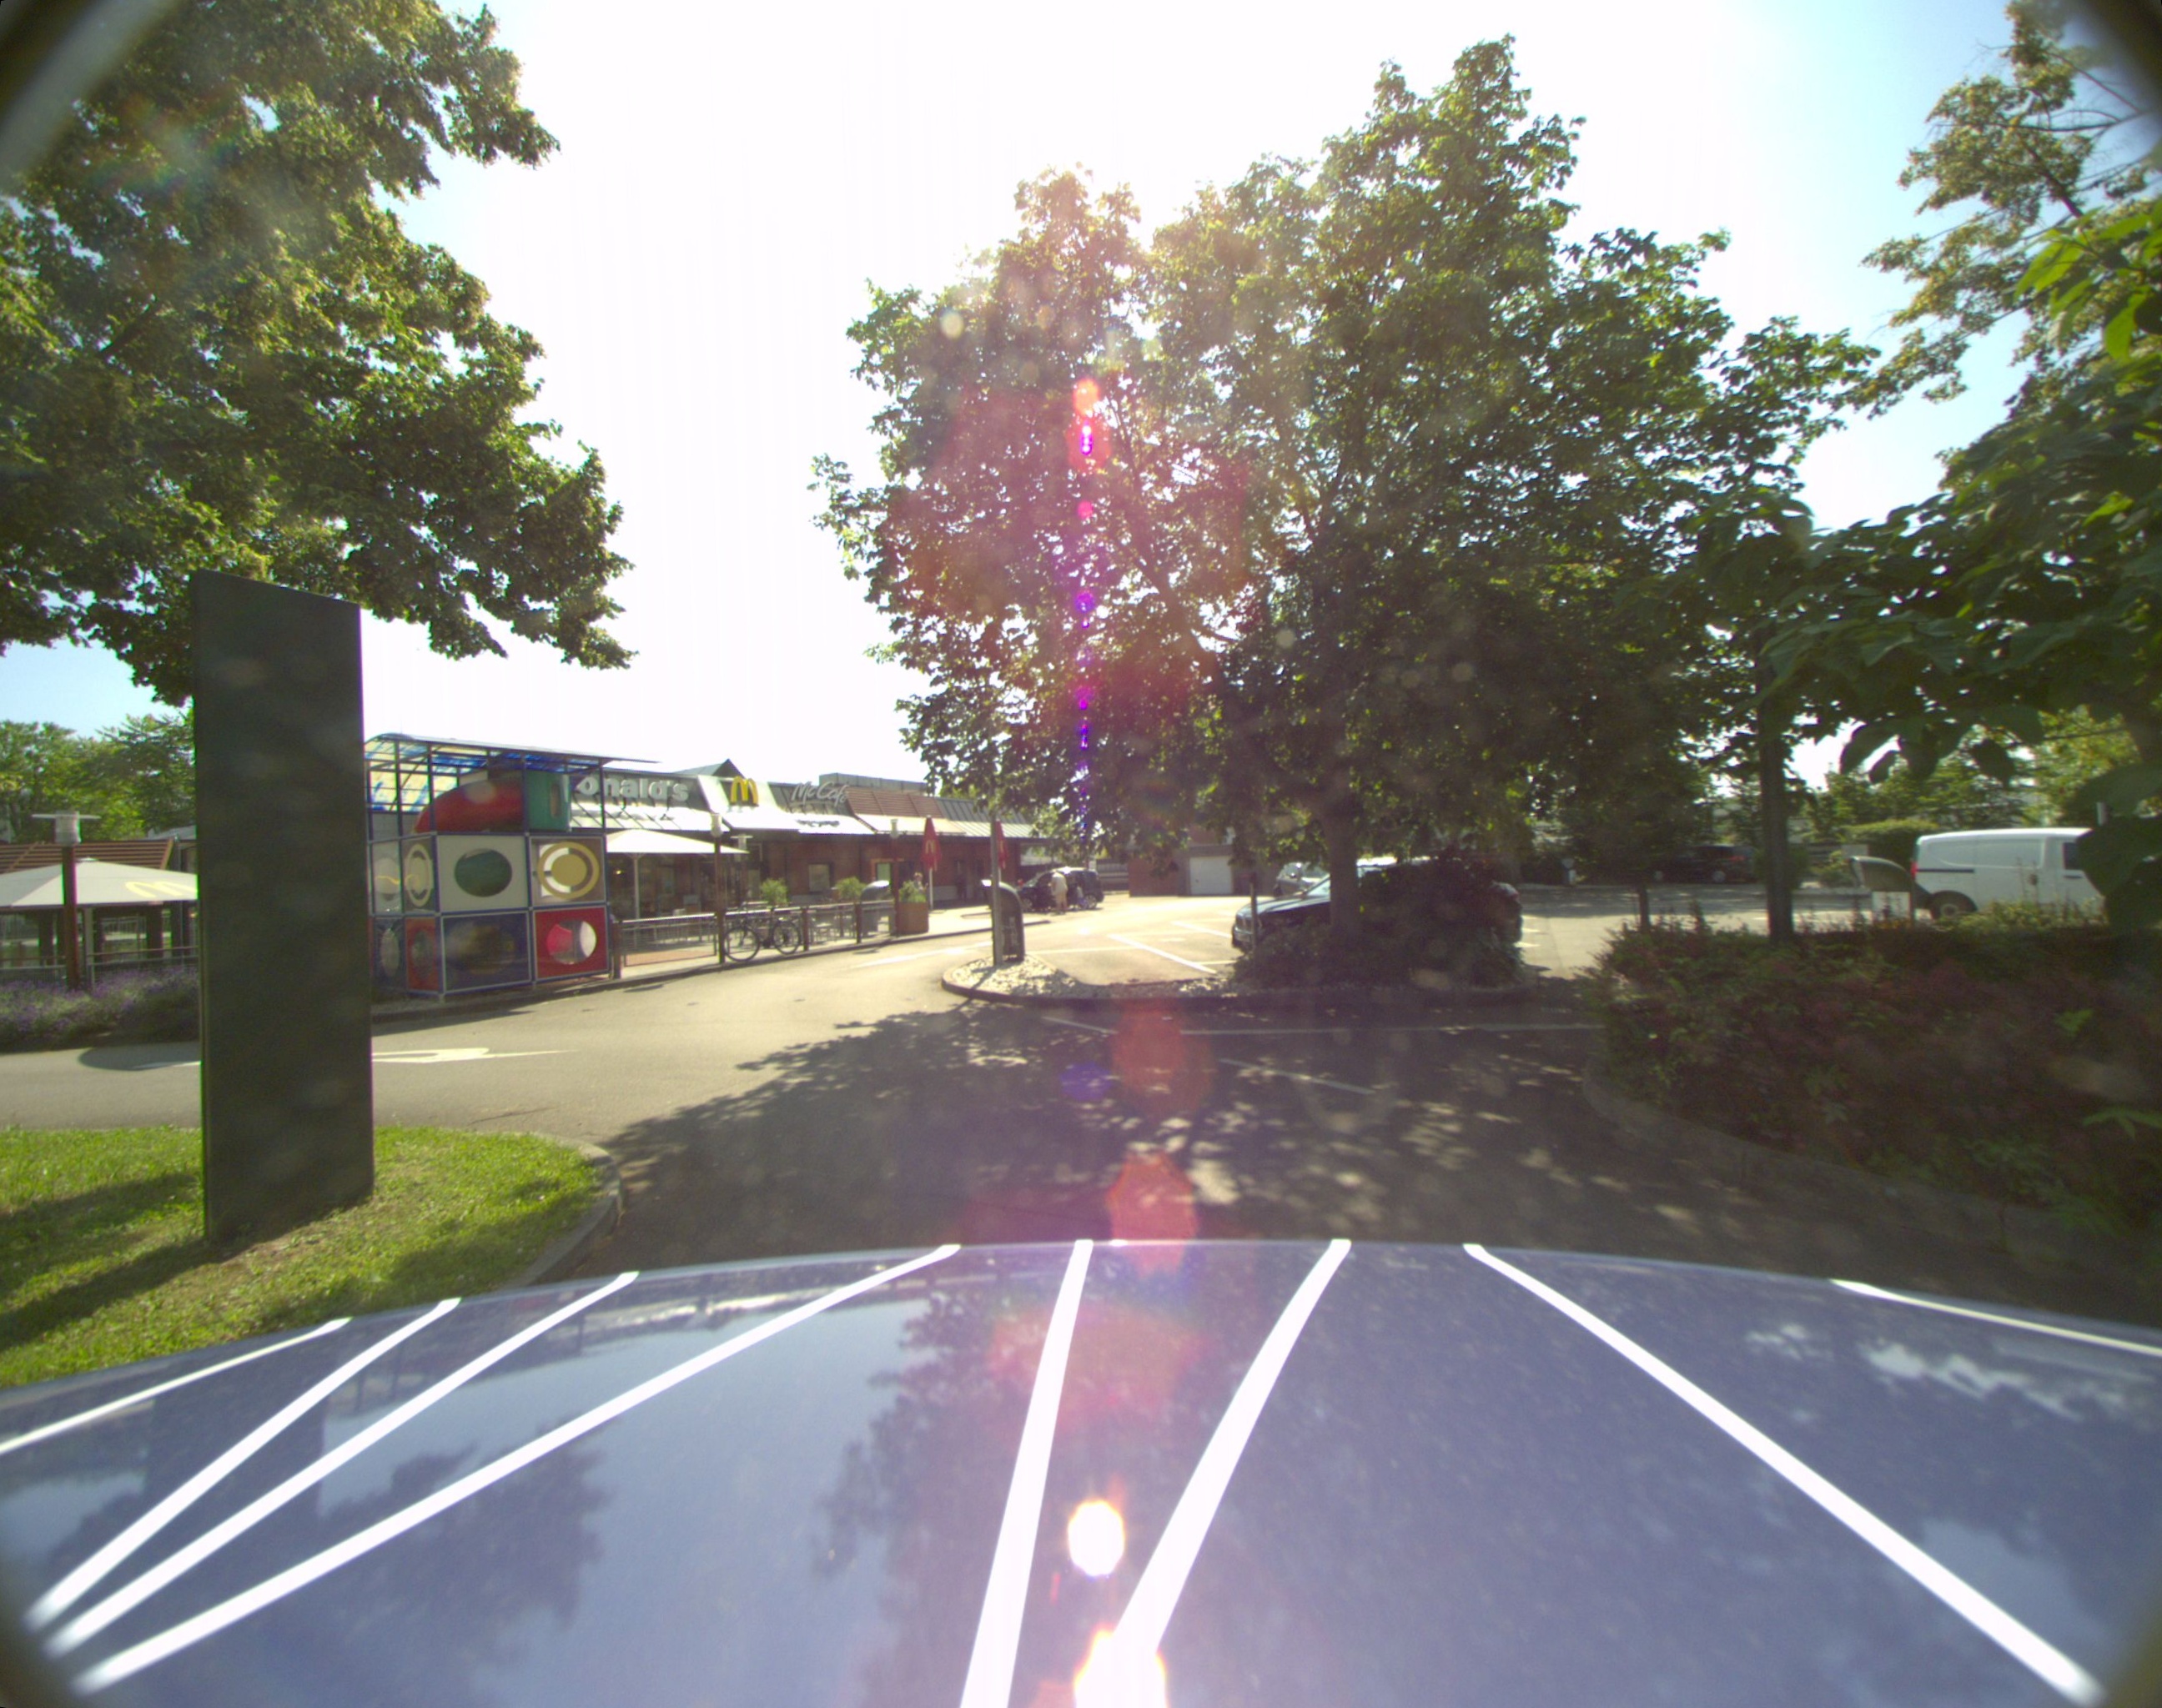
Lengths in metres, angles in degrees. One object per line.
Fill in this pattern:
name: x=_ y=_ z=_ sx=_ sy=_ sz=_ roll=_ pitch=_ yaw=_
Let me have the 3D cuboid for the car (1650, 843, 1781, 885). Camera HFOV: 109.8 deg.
car: x=26.134 y=0.395 z=31.477 sx=1.820 sy=1.567 sz=3.866 roll=-2 pitch=0 yaw=-10

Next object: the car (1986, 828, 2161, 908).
car: x=22.319 y=0.269 z=15.941 sx=1.906 sy=1.574 sz=3.806 roll=-2 pitch=0 yaw=-14

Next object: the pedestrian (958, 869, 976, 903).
pedestrian: x=-5.609 y=1.584 z=37.405 sx=0.541 sy=1.641 sz=0.624 roll=-2 pitch=-1 yaw=31

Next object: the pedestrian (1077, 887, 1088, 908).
pedestrian: x=0.042 y=1.712 z=29.873 sx=0.364 sy=0.774 sz=0.335 roll=-2 pitch=0 yaw=-8

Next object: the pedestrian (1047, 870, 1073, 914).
pedestrian: x=-0.800 y=1.423 z=28.833 sx=0.833 sy=1.628 sz=0.788 roll=-2 pitch=0 yaw=-8

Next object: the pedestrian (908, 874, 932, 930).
pedestrian: x=-4.661 y=1.368 z=21.989 sx=0.597 sy=1.558 sz=0.571 roll=-2 pitch=0 yaw=-10

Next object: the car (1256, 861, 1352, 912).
car: x=7.463 y=1.038 z=25.783 sx=1.621 sy=1.523 sz=3.609 roll=-2 pitch=0 yaw=-10

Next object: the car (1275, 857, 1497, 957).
car: x=6.477 y=1.037 z=16.165 sx=4.232 sy=1.788 sz=1.757 roll=-2 pitch=0 yaw=-20

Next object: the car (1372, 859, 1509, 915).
car: x=11.644 y=1.036 z=24.679 sx=3.724 sy=1.622 sz=1.667 roll=-2 pitch=0 yaw=-11

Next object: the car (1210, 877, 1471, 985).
car: x=4.394 y=1.208 z=12.926 sx=4.003 sy=1.484 sz=1.653 roll=-2 pitch=-1 yaw=-20

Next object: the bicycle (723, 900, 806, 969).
bicycle: x=-6.383 y=1.602 z=15.397 sx=0.309 sy=1.180 sz=1.615 roll=0 pitch=3 yaw=34

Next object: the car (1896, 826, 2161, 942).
car: x=17.697 y=0.482 z=13.264 sx=1.750 sy=1.816 sz=4.348 roll=-3 pitch=-1 yaw=-16

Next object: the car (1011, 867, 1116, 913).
car: x=-0.758 y=1.407 z=30.731 sx=4.000 sy=1.647 sz=1.955 roll=-2 pitch=-1 yaw=-8
